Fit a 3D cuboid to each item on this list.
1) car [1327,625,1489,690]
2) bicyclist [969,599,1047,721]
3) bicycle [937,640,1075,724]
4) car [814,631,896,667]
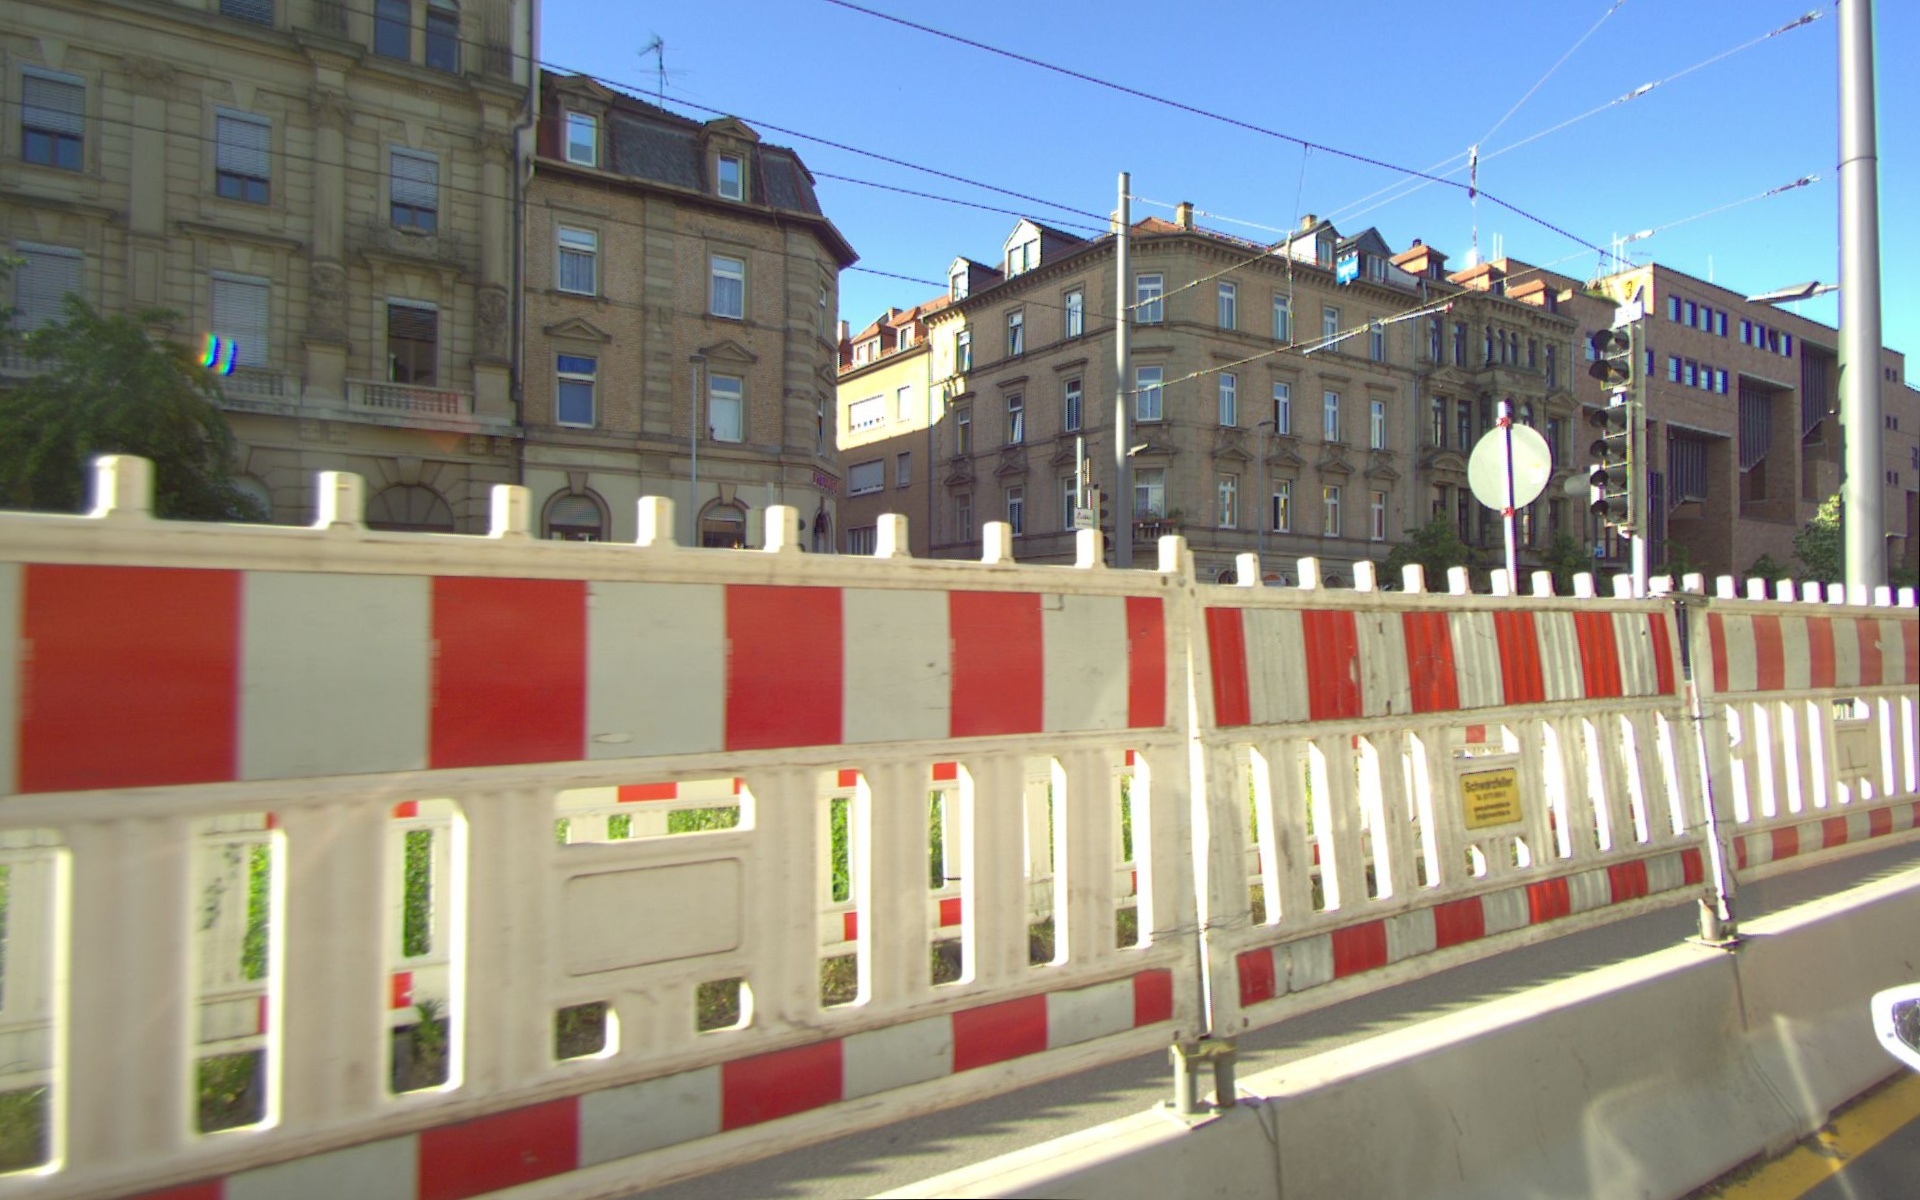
[{"bbox_3d":[12.254,1.532,27.395,4.423,1.661,1.788,2,-2,-30],"label":"car"},{"bbox_3d":[0.735,0.898,15.354,0.870,1.797,0.854,0,-2,34],"label":"bicyclist"},{"bbox_3d":[0.687,1.219,15.401,1.964,1.169,0.853,-1,-2,34],"label":"bicycle"},{"bbox_3d":[-4.778,2.170,45.417,1.811,1.539,3.955,2,-2,-39],"label":"car"}]
